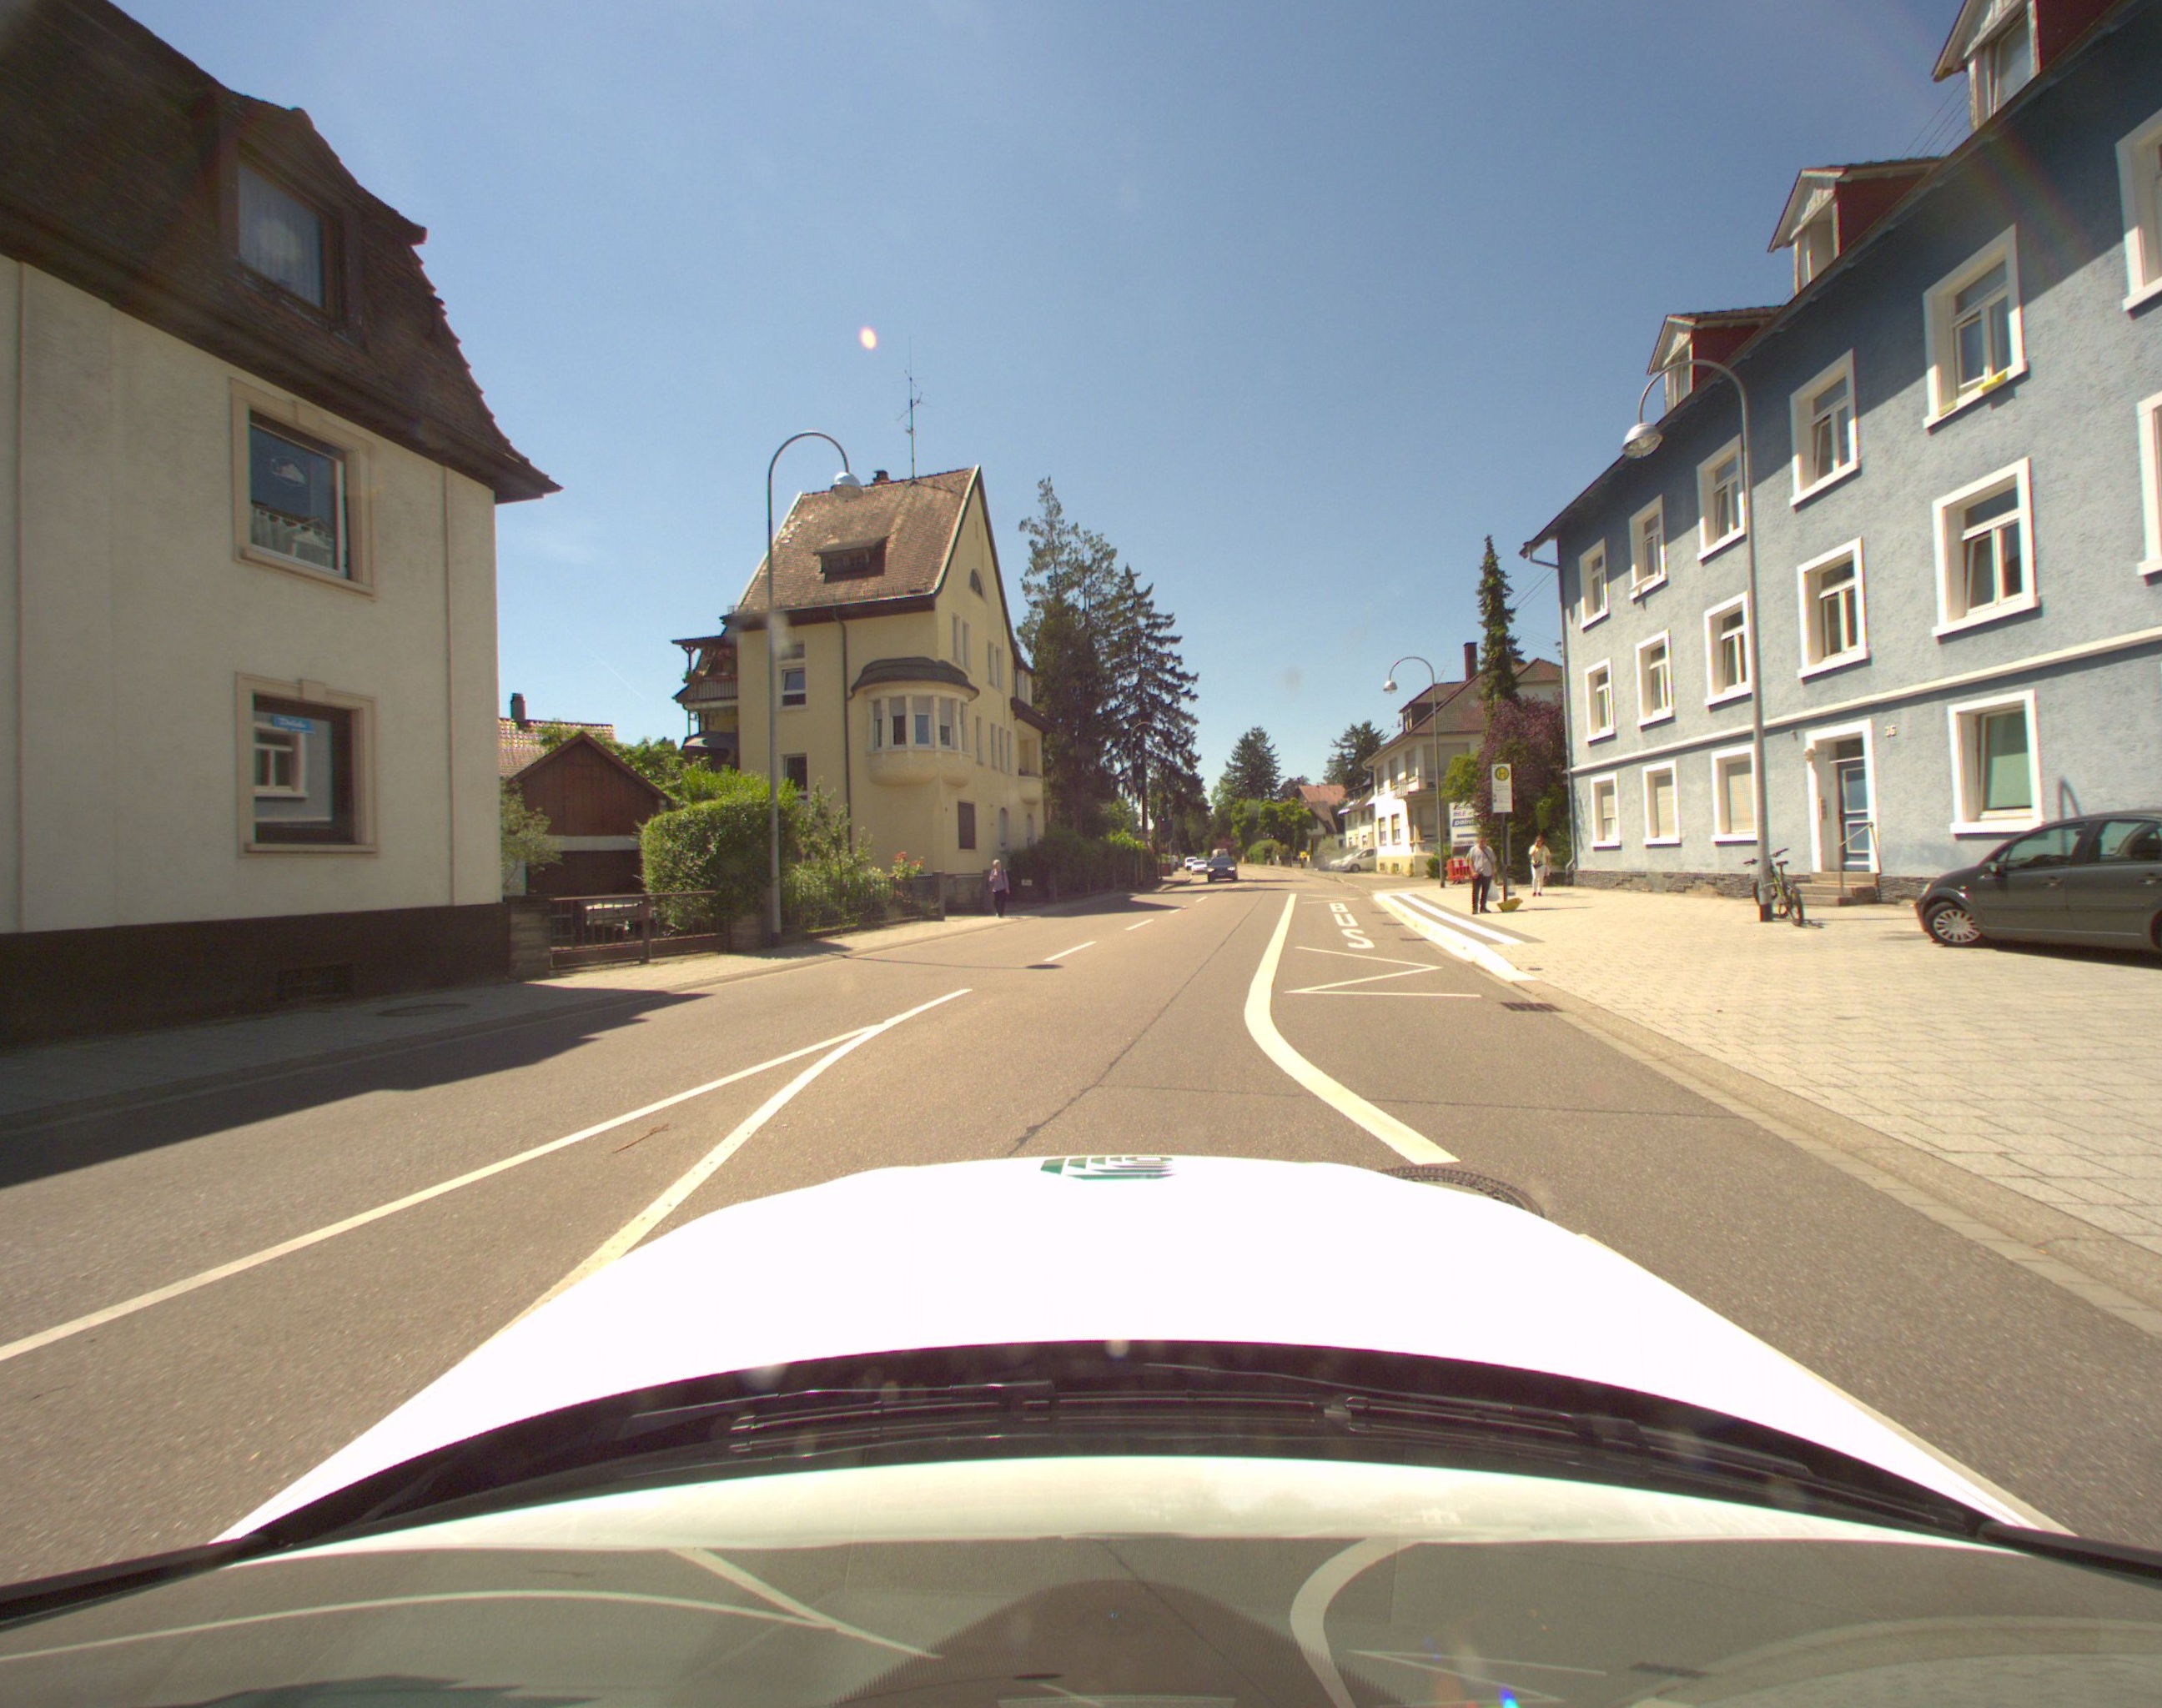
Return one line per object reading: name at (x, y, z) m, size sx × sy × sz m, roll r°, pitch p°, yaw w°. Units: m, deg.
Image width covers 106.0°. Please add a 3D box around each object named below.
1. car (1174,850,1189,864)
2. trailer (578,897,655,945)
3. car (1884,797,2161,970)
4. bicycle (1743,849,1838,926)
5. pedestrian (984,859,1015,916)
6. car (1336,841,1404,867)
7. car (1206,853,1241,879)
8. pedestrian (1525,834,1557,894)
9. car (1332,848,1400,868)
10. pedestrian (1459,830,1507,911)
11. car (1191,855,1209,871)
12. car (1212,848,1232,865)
car at (13.644, 0.379, 110.703) m, size 1.715 × 1.736 × 3.892 m, roll -4°, pitch 0°, yaw 5°
trailer at (-10.411, 1.448, 18.180) m, size 1.364 × 0.860 × 2.788 m, roll -1°, pitch -1°, yaw -32°
car at (10.842, 0.221, 8.387) m, size 1.747 × 1.514 × 3.752 m, roll -5°, pitch -1°, yaw 10°
bicycle at (11.041, 0.490, 12.736) m, size 0.625 × 1.039 × 1.895 m, roll -6°, pitch -1°, yaw 28°
pedestrian at (-2.292, 0.930, 22.967) m, size 0.609 × 1.564 × 0.827 m, roll -1°, pitch 0°, yaw 13°
car at (20.612, -0.013, 58.187) m, size 4.276 × 1.831 × 1.739 m, roll 1°, pitch 0°, yaw 0°
car at (9.517, 0.787, 54.263) m, size 1.839 × 1.616 × 4.314 m, roll -2°, pitch 0°, yaw 15°
pedestrian at (12.869, 0.269, 22.788) m, size 0.608 × 1.616 × 0.755 m, roll -5°, pitch -1°, yaw 25°
car at (21.246, 0.259, 60.843) m, size 4.611 × 1.409 × 1.774 m, roll 1°, pitch 0°, yaw 9°
pedestrian at (9.447, 0.389, 19.145) m, size 0.611 × 1.805 × 0.751 m, roll -5°, pitch -2°, yaw 4°
car at (12.017, 0.933, 82.527) m, size 1.570 × 1.423 × 3.949 m, roll -4°, pitch 0°, yaw 7°
car at (21.939, 0.374, 126.898) m, size 2.137 × 2.315 × 4.851 m, roll -4°, pitch 0°, yaw -1°
